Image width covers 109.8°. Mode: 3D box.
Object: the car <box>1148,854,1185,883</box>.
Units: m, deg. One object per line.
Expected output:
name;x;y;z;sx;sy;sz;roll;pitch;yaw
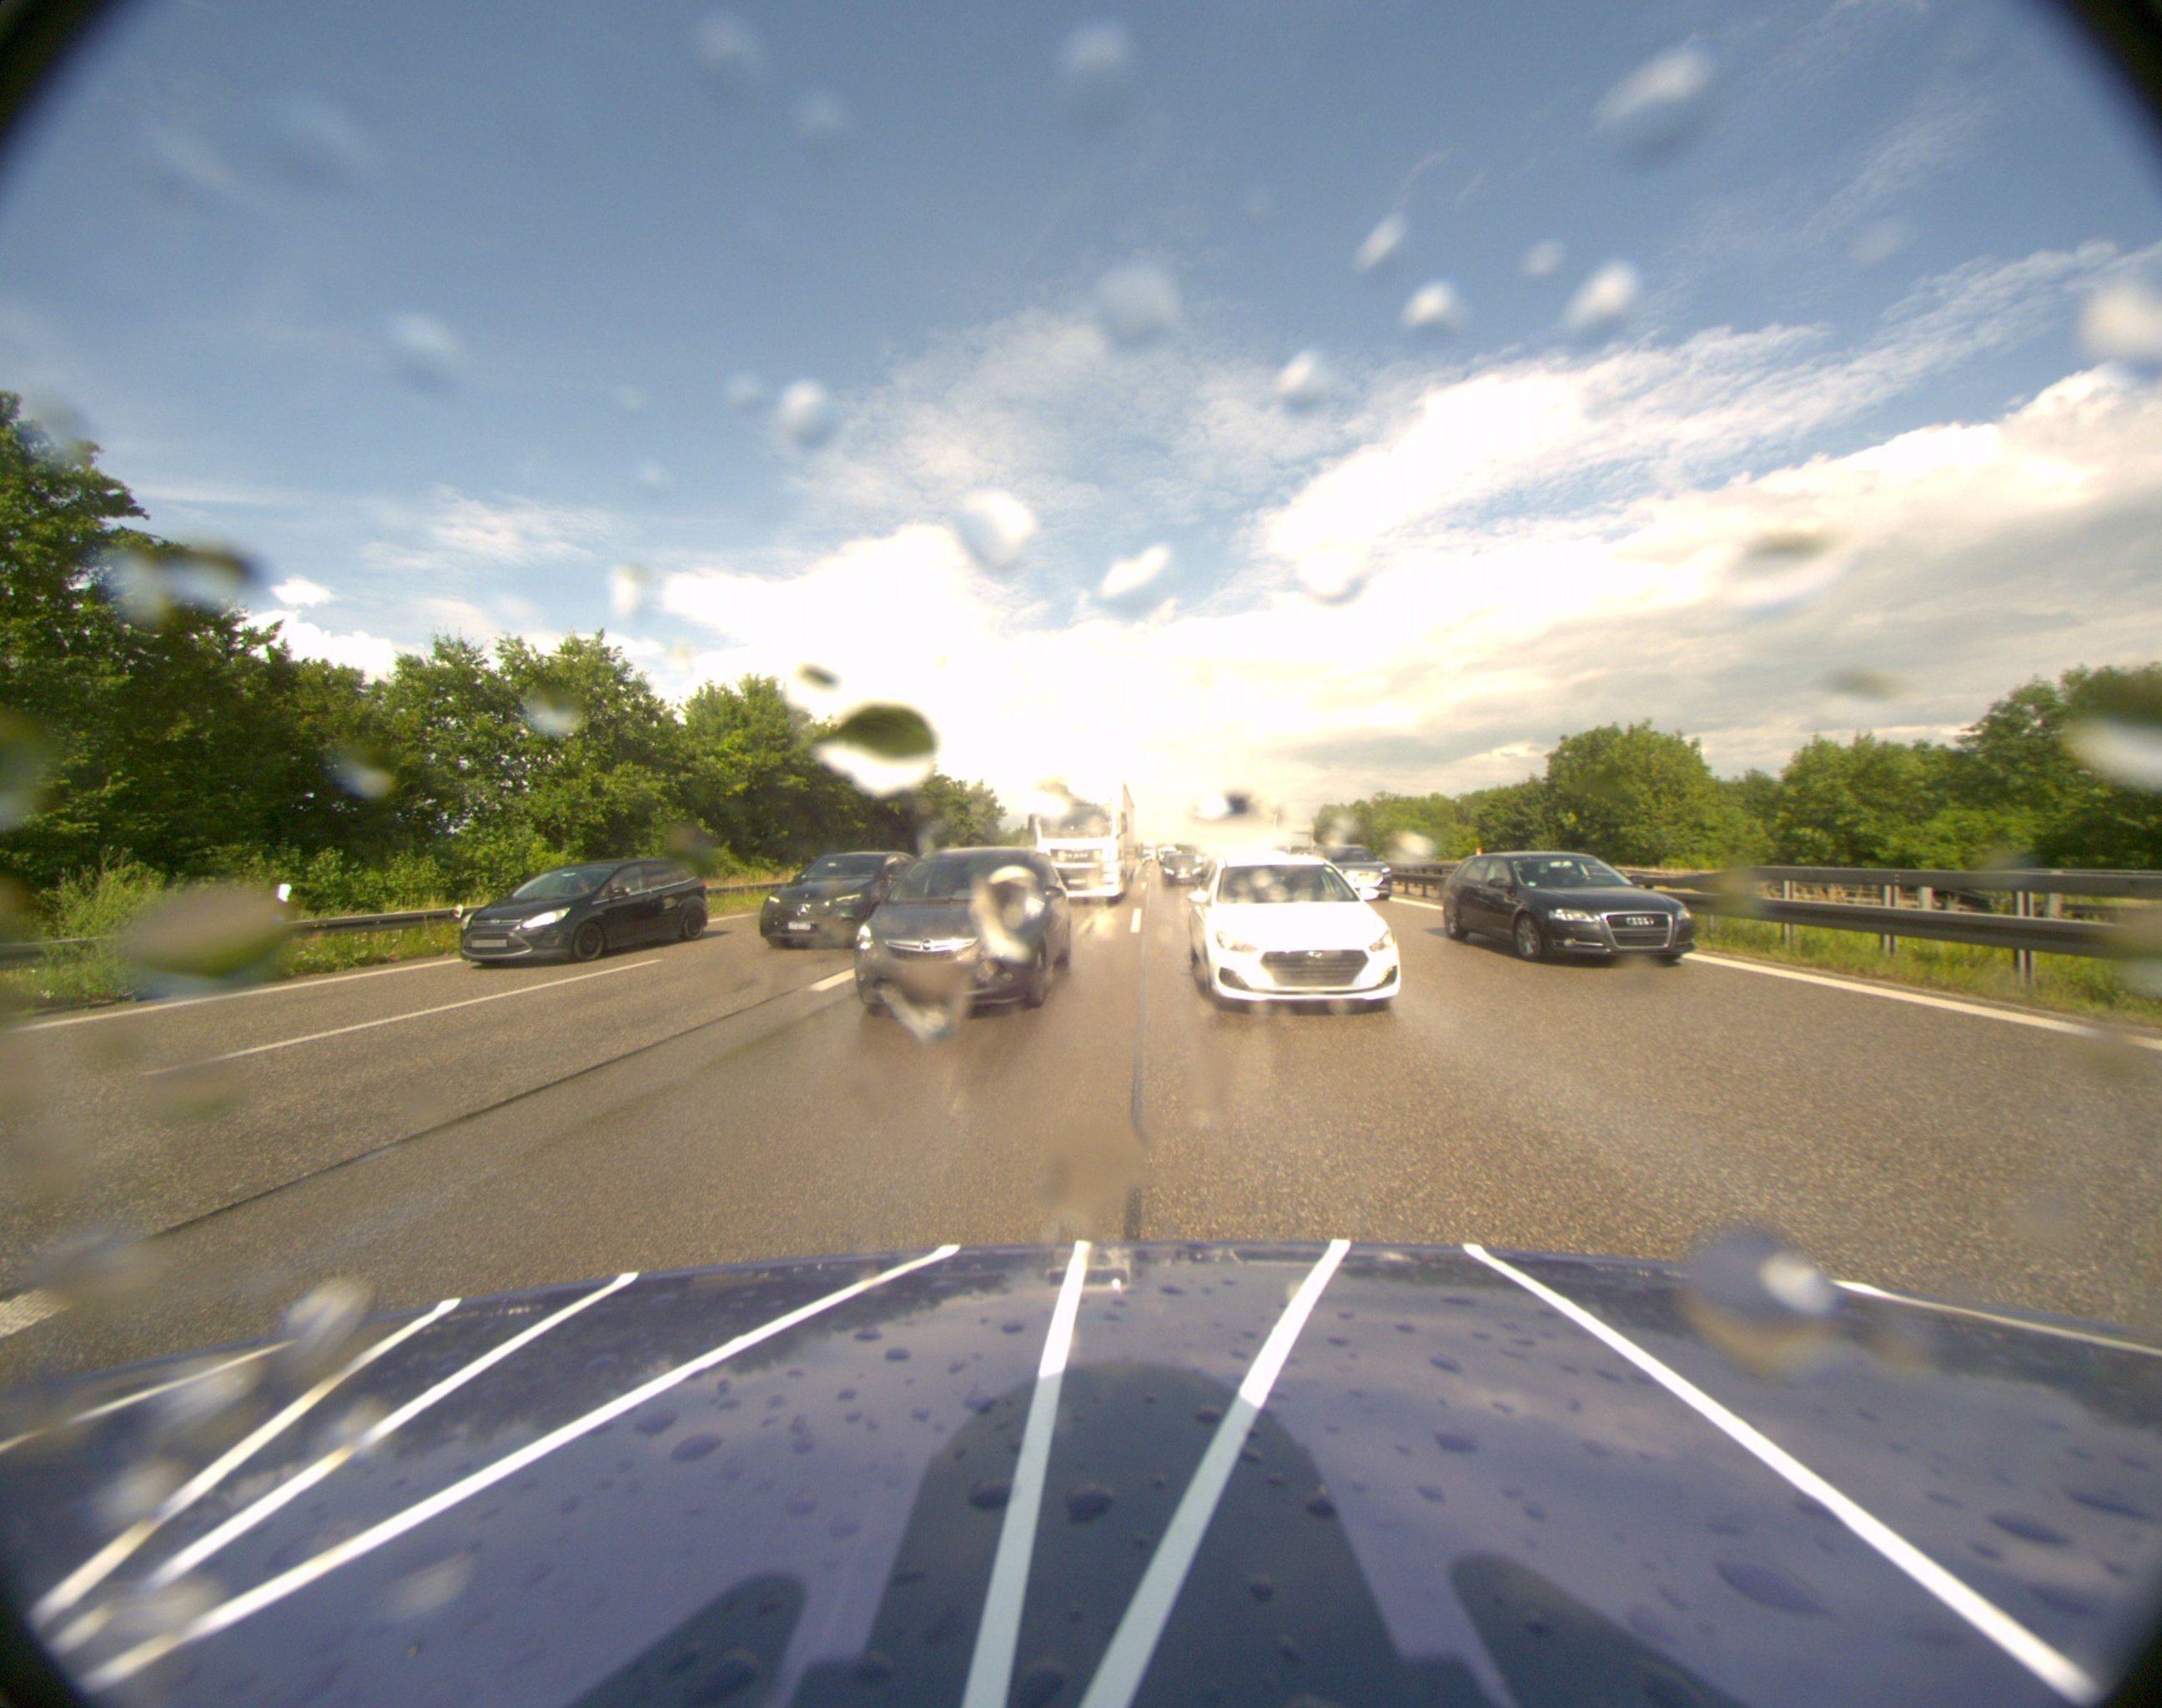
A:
car;5.079;0.819;45.473;1.998;1.471;4.000;-2;1;4

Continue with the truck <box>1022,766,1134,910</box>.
truck;0.172;-0.495;25.615;2.816;4.083;7.448;-2;1;6

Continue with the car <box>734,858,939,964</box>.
car;-4.288;0.914;14.266;1.998;1.572;4.654;-1;0;5

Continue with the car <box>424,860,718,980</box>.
car;-8.373;0.973;13.085;1.824;1.611;4.365;-2;0;5

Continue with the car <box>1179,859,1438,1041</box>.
car;2.191;0.827;8.636;1.885;1.446;4.549;-1;0;5

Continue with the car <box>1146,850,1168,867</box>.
car;7.387;0.378;74.419;1.998;1.471;4.000;-2;1;4

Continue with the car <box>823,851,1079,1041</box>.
car;-1.162;0.815;8.884;1.883;1.638;4.397;-1;0;5

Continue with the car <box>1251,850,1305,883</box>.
car;9.148;0.533;35.635;1.771;1.371;4.000;-1;1;4

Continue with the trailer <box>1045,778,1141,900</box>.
trailer;0.852;-0.583;31.776;2.789;4.083;11.542;-2;1;6

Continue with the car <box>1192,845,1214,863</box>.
car;13.032;-0.041;81.335;1.998;1.687;4.000;-2;1;4

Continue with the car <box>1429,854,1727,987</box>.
car;6.560;0.761;10.659;1.770;1.417;4.140;-2;1;6

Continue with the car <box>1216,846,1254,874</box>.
car;10.622;0.374;52.604;1.998;1.739;4.000;-2;1;4

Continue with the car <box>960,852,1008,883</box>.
car;-5.442;0.716;43.009;1.752;1.577;4.287;-2;1;5

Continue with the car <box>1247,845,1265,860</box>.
car;23.368;-0.206;101.645;1.997;2.002;4.002;0;1;7

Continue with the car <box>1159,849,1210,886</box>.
car;4.677;0.570;34.852;1.998;1.477;4.000;-2;1;4

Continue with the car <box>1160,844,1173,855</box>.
car;14.715;-0.744;131.396;1.998;1.687;4.000;-2;1;4

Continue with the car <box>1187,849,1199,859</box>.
car;21.562;-0.070;146.500;1.998;1.687;4.000;-2;1;4

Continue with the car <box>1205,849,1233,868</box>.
car;12.400;0.363;68.353;1.998;1.471;4.000;-2;1;4

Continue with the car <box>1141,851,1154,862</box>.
car;11.545;0.378;131.984;1.998;1.687;4.000;-2;1;4

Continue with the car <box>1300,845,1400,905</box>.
car;7.972;0.559;22.946;1.874;1.597;4.230;-1;1;6

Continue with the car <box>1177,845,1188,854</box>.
car;22.175;-0.956;166.282;1.998;1.687;4.000;-2;1;4

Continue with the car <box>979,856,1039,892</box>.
car;-3.062;0.826;33.245;1.755;1.402;4.513;-2;0;6

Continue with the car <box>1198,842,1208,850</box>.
car;28.926;-1.916;179.679;1.998;1.768;4.462;-1;0;5

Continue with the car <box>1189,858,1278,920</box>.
car;3.754;0.805;19.374;1.728;1.330;4.288;-1;0;5

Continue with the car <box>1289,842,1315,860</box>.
car;25.989;-0.338;89.367;1.998;2.002;4.654;-1;0;4
